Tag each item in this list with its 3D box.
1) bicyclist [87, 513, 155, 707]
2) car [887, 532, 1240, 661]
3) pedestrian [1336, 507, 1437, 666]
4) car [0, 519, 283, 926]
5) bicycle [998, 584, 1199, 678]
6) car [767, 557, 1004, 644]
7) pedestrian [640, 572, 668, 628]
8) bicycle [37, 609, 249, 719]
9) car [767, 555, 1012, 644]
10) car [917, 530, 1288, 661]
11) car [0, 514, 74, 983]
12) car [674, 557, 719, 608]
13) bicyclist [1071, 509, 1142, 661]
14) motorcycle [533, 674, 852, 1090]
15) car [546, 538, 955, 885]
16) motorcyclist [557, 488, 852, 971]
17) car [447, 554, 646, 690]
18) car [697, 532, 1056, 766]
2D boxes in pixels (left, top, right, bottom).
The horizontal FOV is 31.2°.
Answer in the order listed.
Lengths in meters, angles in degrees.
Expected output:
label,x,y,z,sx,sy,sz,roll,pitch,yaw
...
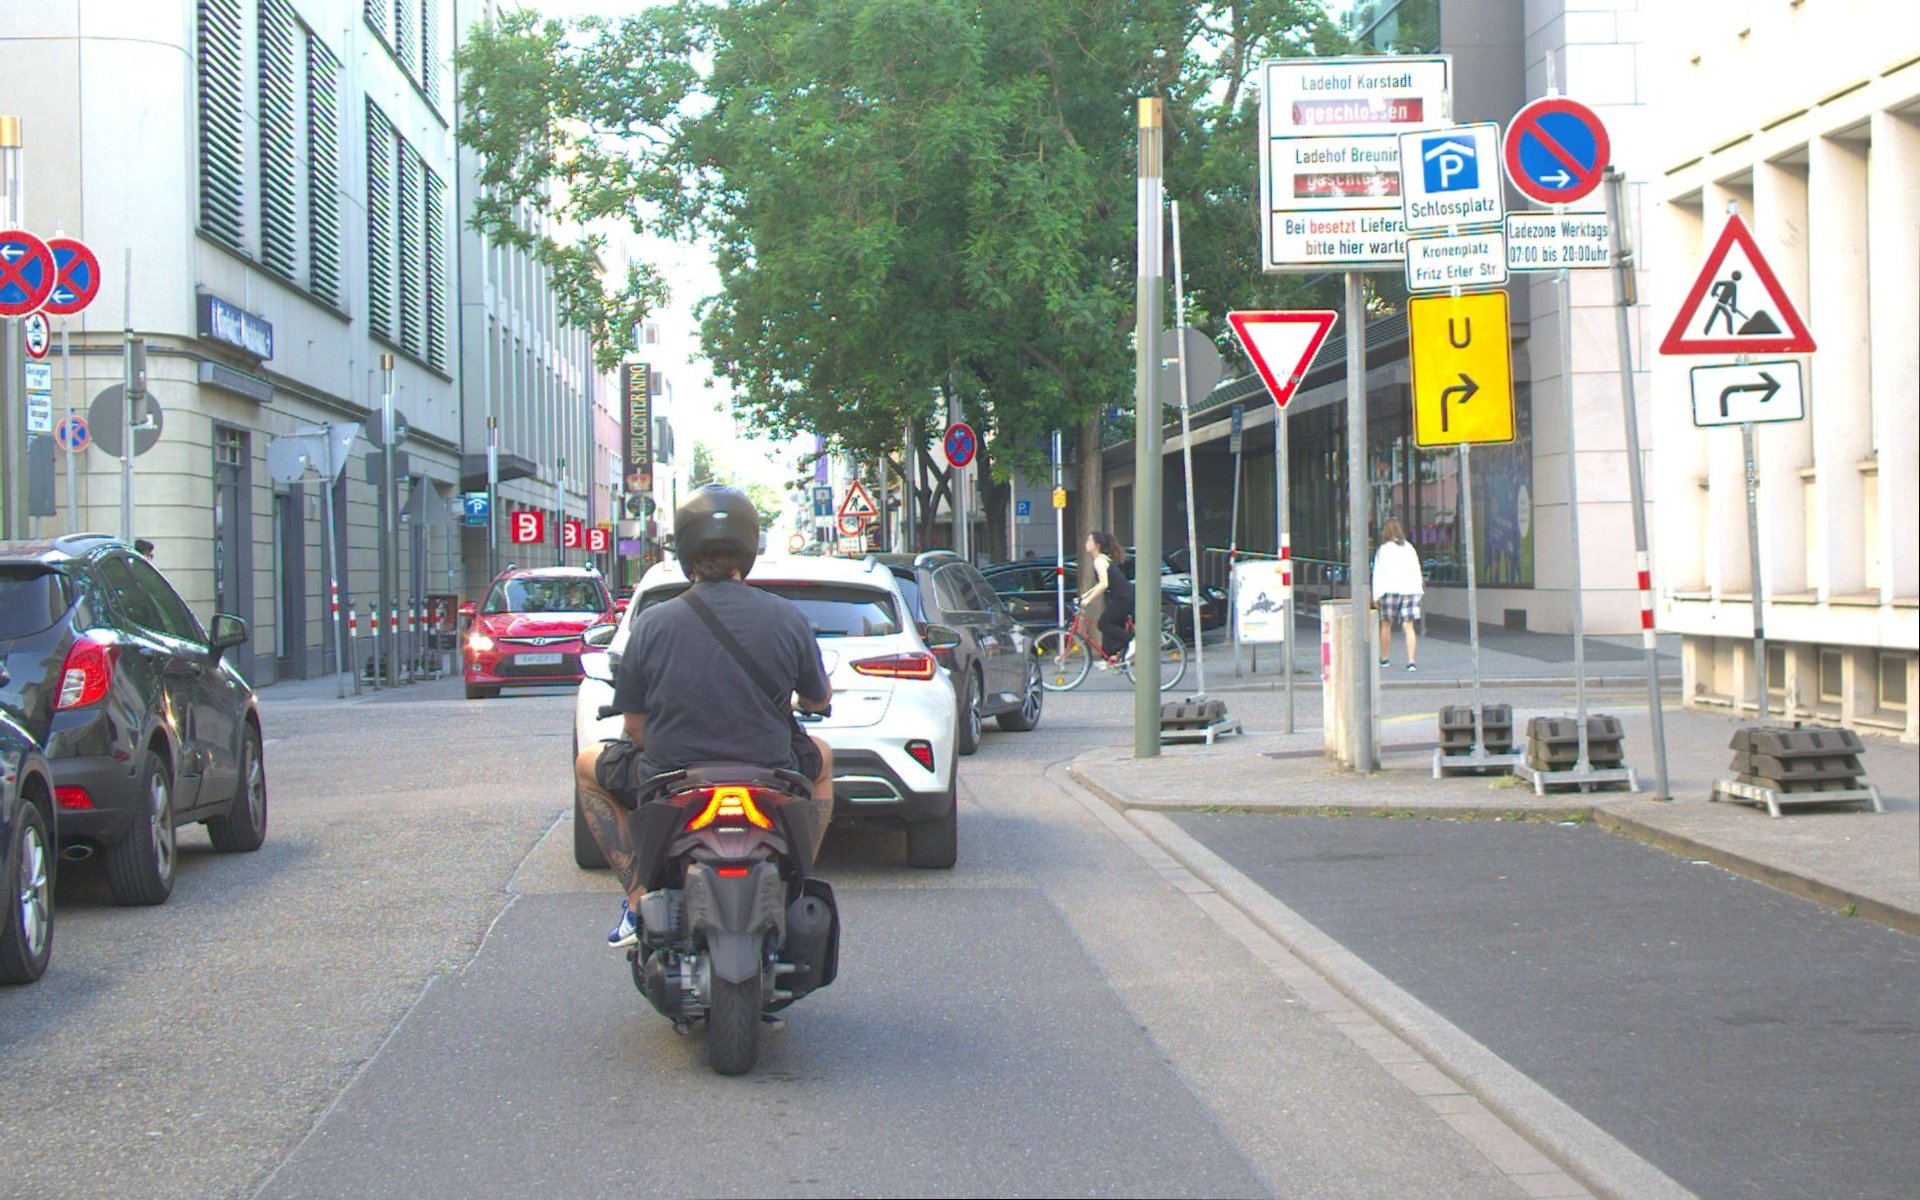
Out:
label,x,y,z,sx,sy,sz,roll,pitch,yaw
bicyclist,-7.522,0.089,30.808,0.550,1.726,0.501,0,0,-19
car,1.518,-0.053,51.675,5.003,1.494,2.000,-5,0,-5
pedestrian,4.751,-0.150,38.348,0.905,1.700,0.834,-4,0,-1
car,-4.510,0.503,16.437,1.822,1.672,4.264,-3,1,-3
bicycle,1.480,0.329,36.945,2.104,0.992,0.518,0,0,22
car,-1.675,0.013,75.956,5.003,1.494,2.000,-5,0,-5
pedestrian,-8.659,0.002,97.305,0.732,1.568,0.636,0,0,-2
bicycle,-7.335,0.565,30.863,1.814,0.970,0.511,0,0,-18
car,-1.532,-0.012,73.493,5.003,1.494,2.000,-5,0,-5
car,1.994,-0.069,49.251,5.003,1.447,2.000,-5,0,-5
car,-4.099,0.561,10.765,1.739,1.589,4.154,-3,1,-4
car,-12.387,-0.836,161.322,1.993,2.321,5.022,1,0,-5
bicyclist,1.576,-0.159,36.908,0.630,1.620,0.497,0,0,22
motorcycle,-0.765,0.795,10.378,0.872,1.105,1.840,0,0,-2
car,-1.082,0.464,17.693,1.822,1.536,4.264,-1,1,-4
motorcyclist,-0.761,0.382,10.384,0.867,1.422,0.455,0,0,-2
car,-4.718,0.288,39.729,1.822,1.460,4.263,-1,-1,-1
car,-0.536,0.309,26.434,1.823,1.536,4.363,-2,1,11
